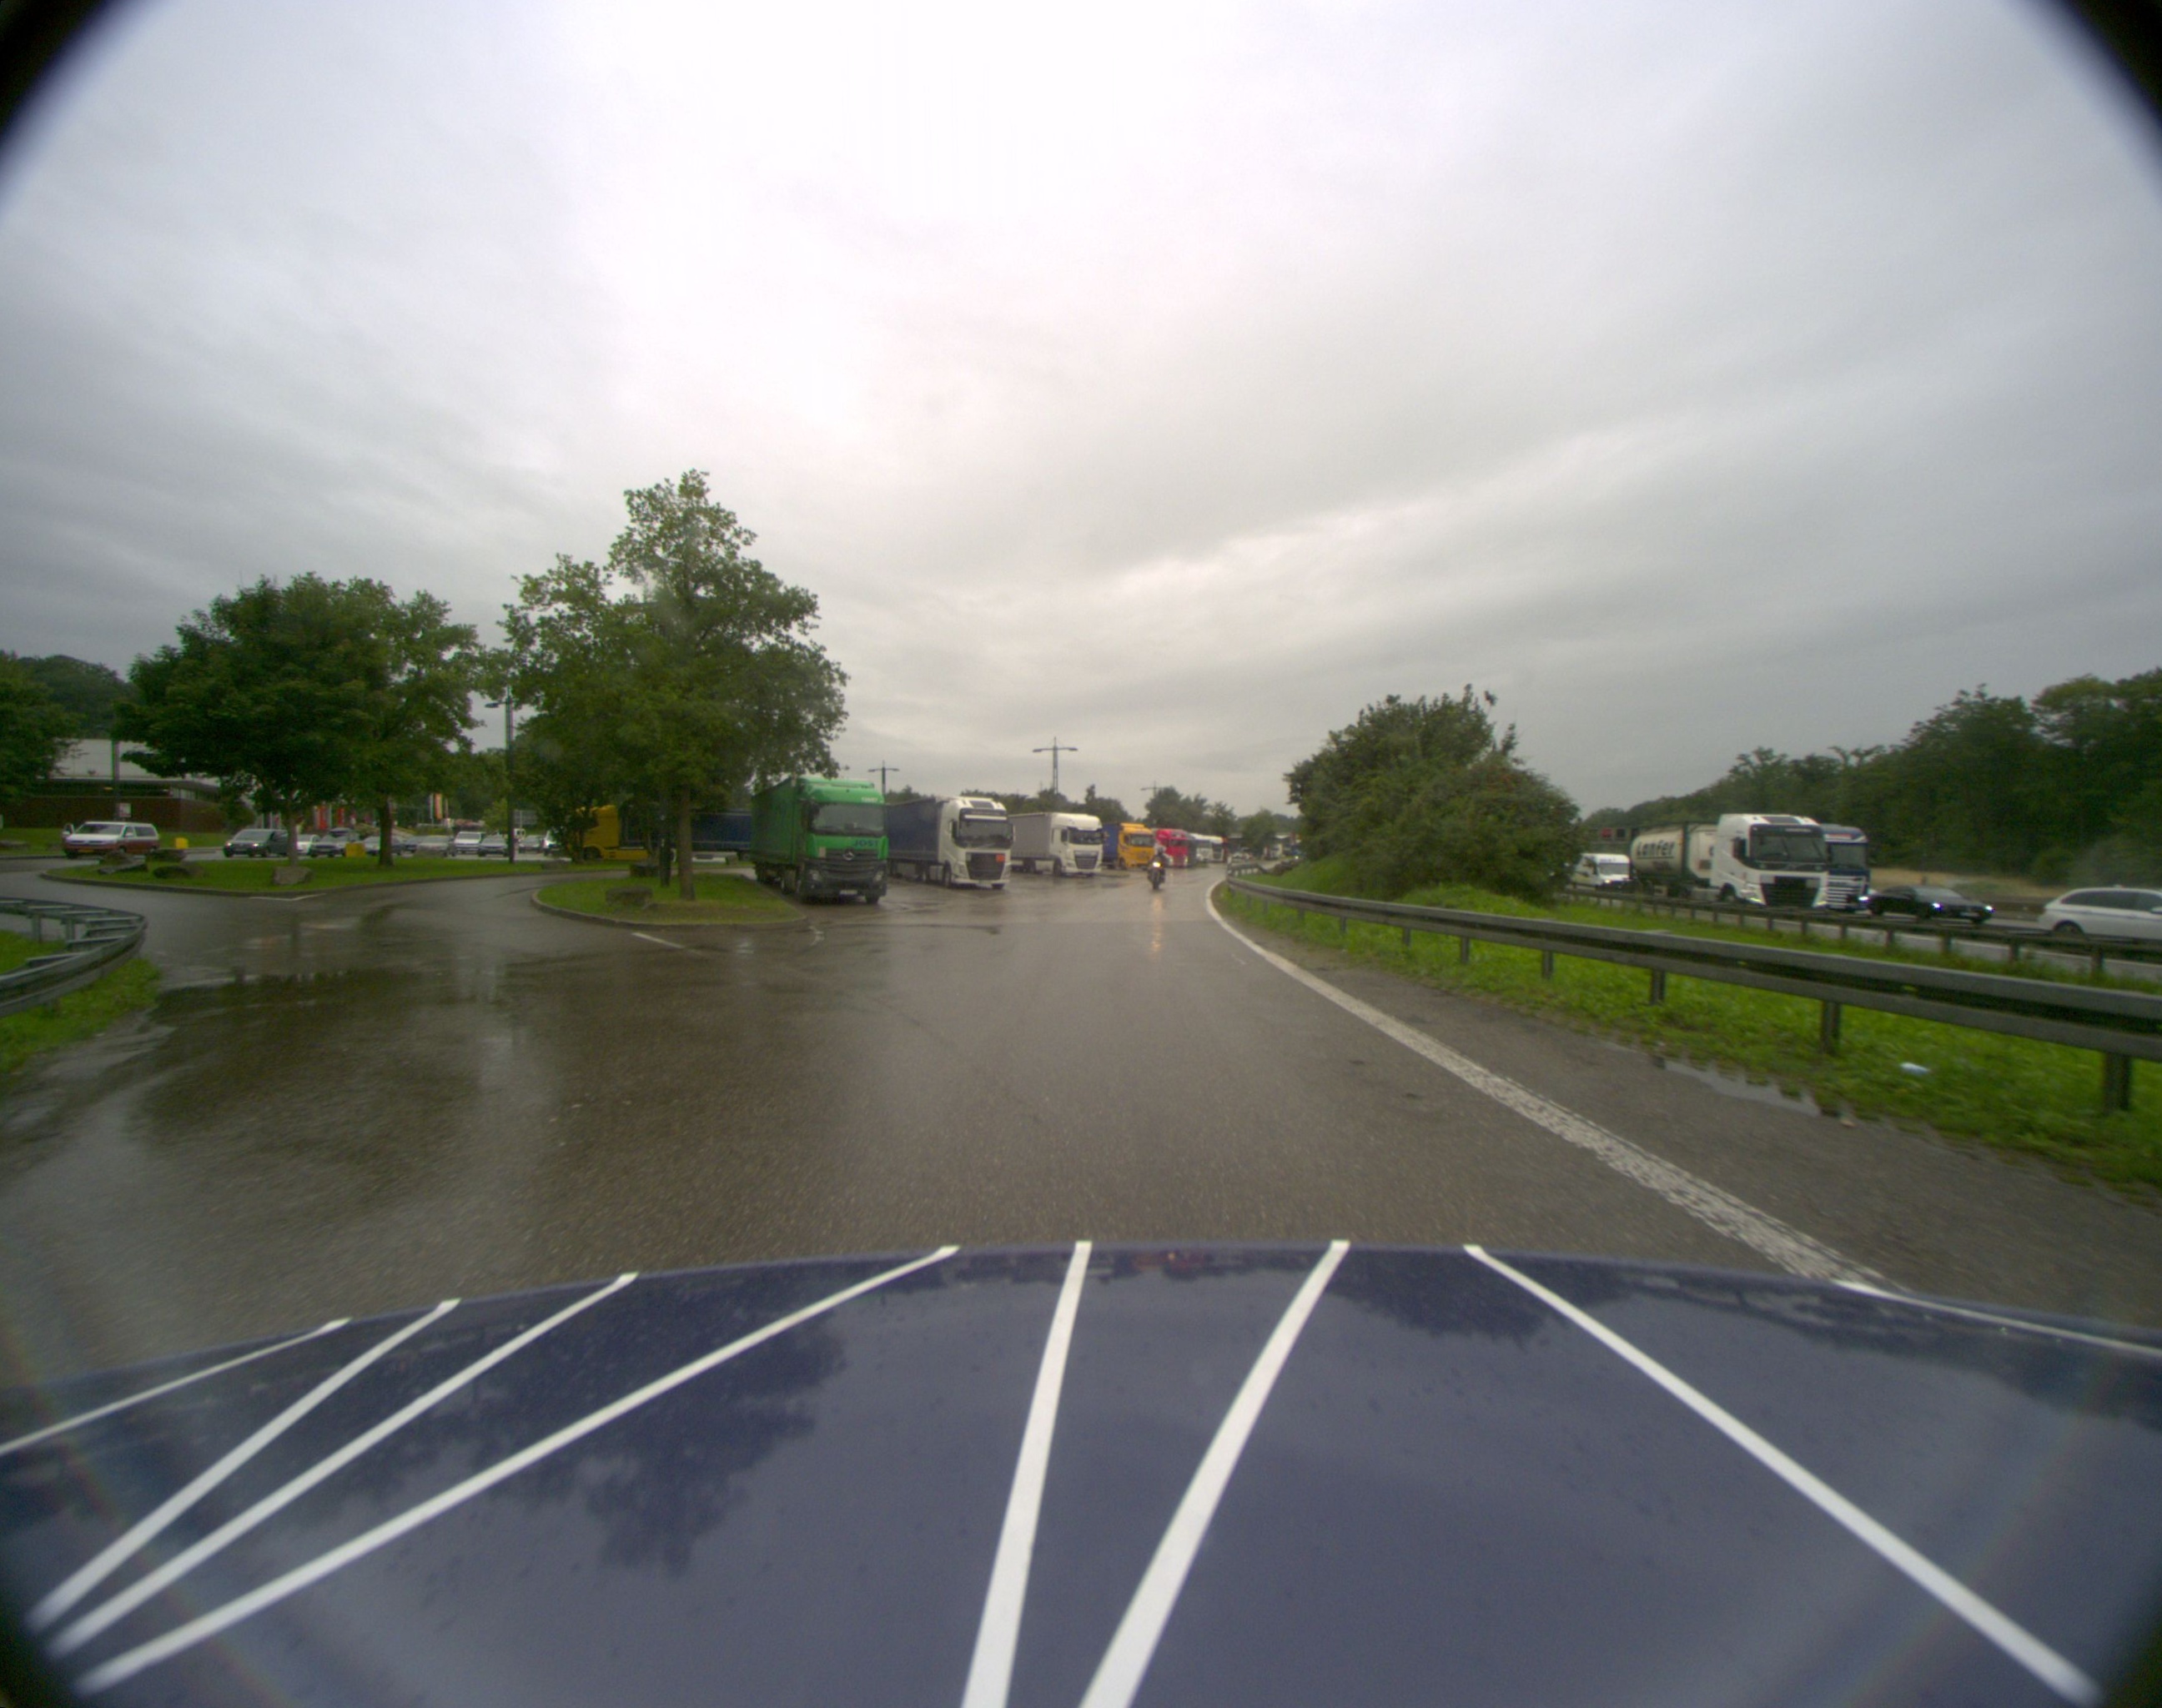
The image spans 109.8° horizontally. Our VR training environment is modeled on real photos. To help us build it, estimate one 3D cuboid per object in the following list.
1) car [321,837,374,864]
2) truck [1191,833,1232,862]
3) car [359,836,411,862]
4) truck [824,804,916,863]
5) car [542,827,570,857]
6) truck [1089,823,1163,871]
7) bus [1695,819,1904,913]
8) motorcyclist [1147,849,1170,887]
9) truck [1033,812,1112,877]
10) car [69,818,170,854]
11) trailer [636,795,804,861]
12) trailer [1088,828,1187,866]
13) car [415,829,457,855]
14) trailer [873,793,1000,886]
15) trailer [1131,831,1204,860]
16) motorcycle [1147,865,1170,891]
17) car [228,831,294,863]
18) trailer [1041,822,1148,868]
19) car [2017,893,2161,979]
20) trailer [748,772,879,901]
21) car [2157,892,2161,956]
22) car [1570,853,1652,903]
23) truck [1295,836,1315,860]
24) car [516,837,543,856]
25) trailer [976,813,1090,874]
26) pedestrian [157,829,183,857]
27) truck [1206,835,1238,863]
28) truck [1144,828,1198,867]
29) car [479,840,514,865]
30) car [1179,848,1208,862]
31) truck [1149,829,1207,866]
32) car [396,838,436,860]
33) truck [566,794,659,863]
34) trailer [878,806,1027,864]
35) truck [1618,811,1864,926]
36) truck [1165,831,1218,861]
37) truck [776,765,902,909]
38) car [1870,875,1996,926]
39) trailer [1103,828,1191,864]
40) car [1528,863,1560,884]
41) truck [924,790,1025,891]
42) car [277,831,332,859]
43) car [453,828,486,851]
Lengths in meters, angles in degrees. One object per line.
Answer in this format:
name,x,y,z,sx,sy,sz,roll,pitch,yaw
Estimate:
car,-49.529,-0.230,51.382,1.761,1.680,3.990,-2,0,-32
truck,19.921,-1.017,116.181,3.251,4.361,5.799,0,1,-30
car,-52.435,-0.361,57.341,2.003,1.876,4.386,1,0,-30
truck,-17.058,-1.601,61.375,6.546,4.481,3.251,1,1,-28
car,-46.816,-1.041,67.777,2.004,2.498,4.727,1,0,-34
truck,3.811,-0.649,66.977,2.845,3.897,8.111,1,1,-26
bus,33.339,0.443,36.044,2.898,3.746,10.443,-2,0,17
motorcyclist,3.279,0.576,32.088,0.878,1.558,1.374,2,0,4
truck,-0.636,-0.599,49.008,2.835,3.890,5.398,1,1,-28
car,-52.793,-0.963,41.838,1.971,1.724,4.532,-2,0,-32
trailer,-26.479,-1.972,56.187,10.754,4.525,3.431,-2,0,-28
trailer,6.021,-0.901,85.521,3.251,3.897,14.793,1,1,-30
car,-49.216,-0.902,58.042,1.859,1.871,3.990,-2,0,-32
trailer,-8.187,-0.790,40.527,2.831,4.147,13.960,1,1,-27
trailer,12.651,-1.312,113.381,3.251,4.068,13.498,1,1,-30
motorcycle,3.271,0.998,32.183,0.878,1.016,2.353,2,0,4
car,-52.193,-0.420,48.469,1.821,1.871,3.990,-2,0,-32
trailer,0.821,-0.901,72.937,2.873,3.897,16.594,1,1,-26
car,21.567,1.634,14.712,1.930,1.513,4.768,1,0,16
trailer,-11.416,-0.702,31.119,2.831,4.126,13.932,0,1,-29
car,25.988,1.655,15.589,1.930,1.513,4.768,1,0,16
car,31.667,1.359,45.687,2.365,2.628,6.906,-2,0,21
truck,42.134,-1.088,142.847,3.239,4.361,6.322,1,1,18
car,-53.692,-0.692,74.045,1.831,1.666,3.990,-2,0,-32
trailer,-3.907,-0.815,55.258,2.849,3.897,13.921,1,1,-28
pedestrian,-54.160,-0.629,45.189,0.791,1.650,0.718,1,1,16
truck,22.384,-0.803,121.141,2.611,4.361,4.617,0,1,-30
truck,9.378,-0.714,79.684,3.251,3.897,5.009,1,1,-30
car,-46.805,-0.088,60.905,1.787,1.871,3.990,-2,0,-32
car,15.087,0.151,102.343,1.851,1.848,3.990,0,1,-28
truck,10.673,-0.796,84.466,2.904,3.897,6.539,1,1,-30
car,-57.127,-0.435,65.371,2.004,1.789,3.989,1,0,-33
truck,-32.536,-1.742,53.027,5.085,4.525,3.431,-2,1,-28
trailer,-10.842,-1.498,64.702,12.051,4.448,3.251,1,1,-28
truck,27.754,0.480,33.141,3.351,4.047,12.588,-2,0,18
truck,15.648,-1.192,108.160,3.251,4.068,7.918,1,1,-30
truck,-8.145,-0.529,25.021,2.831,4.126,5.983,0,1,-29
car,34.918,1.869,31.302,1.621,1.770,4.005,-2,0,18
trailer,7.477,-0.996,90.027,2.881,3.897,13.900,1,1,-30
car,46.713,1.952,76.686,1.732,2.002,4.005,1,0,16
truck,-4.900,-0.591,34.078,2.831,4.122,5.290,1,1,-27
car,-55.948,-0.647,54.830,1.857,1.871,3.990,-2,0,-32
car,-54.409,-1.281,67.614,1.772,1.871,3.990,-2,0,-32
